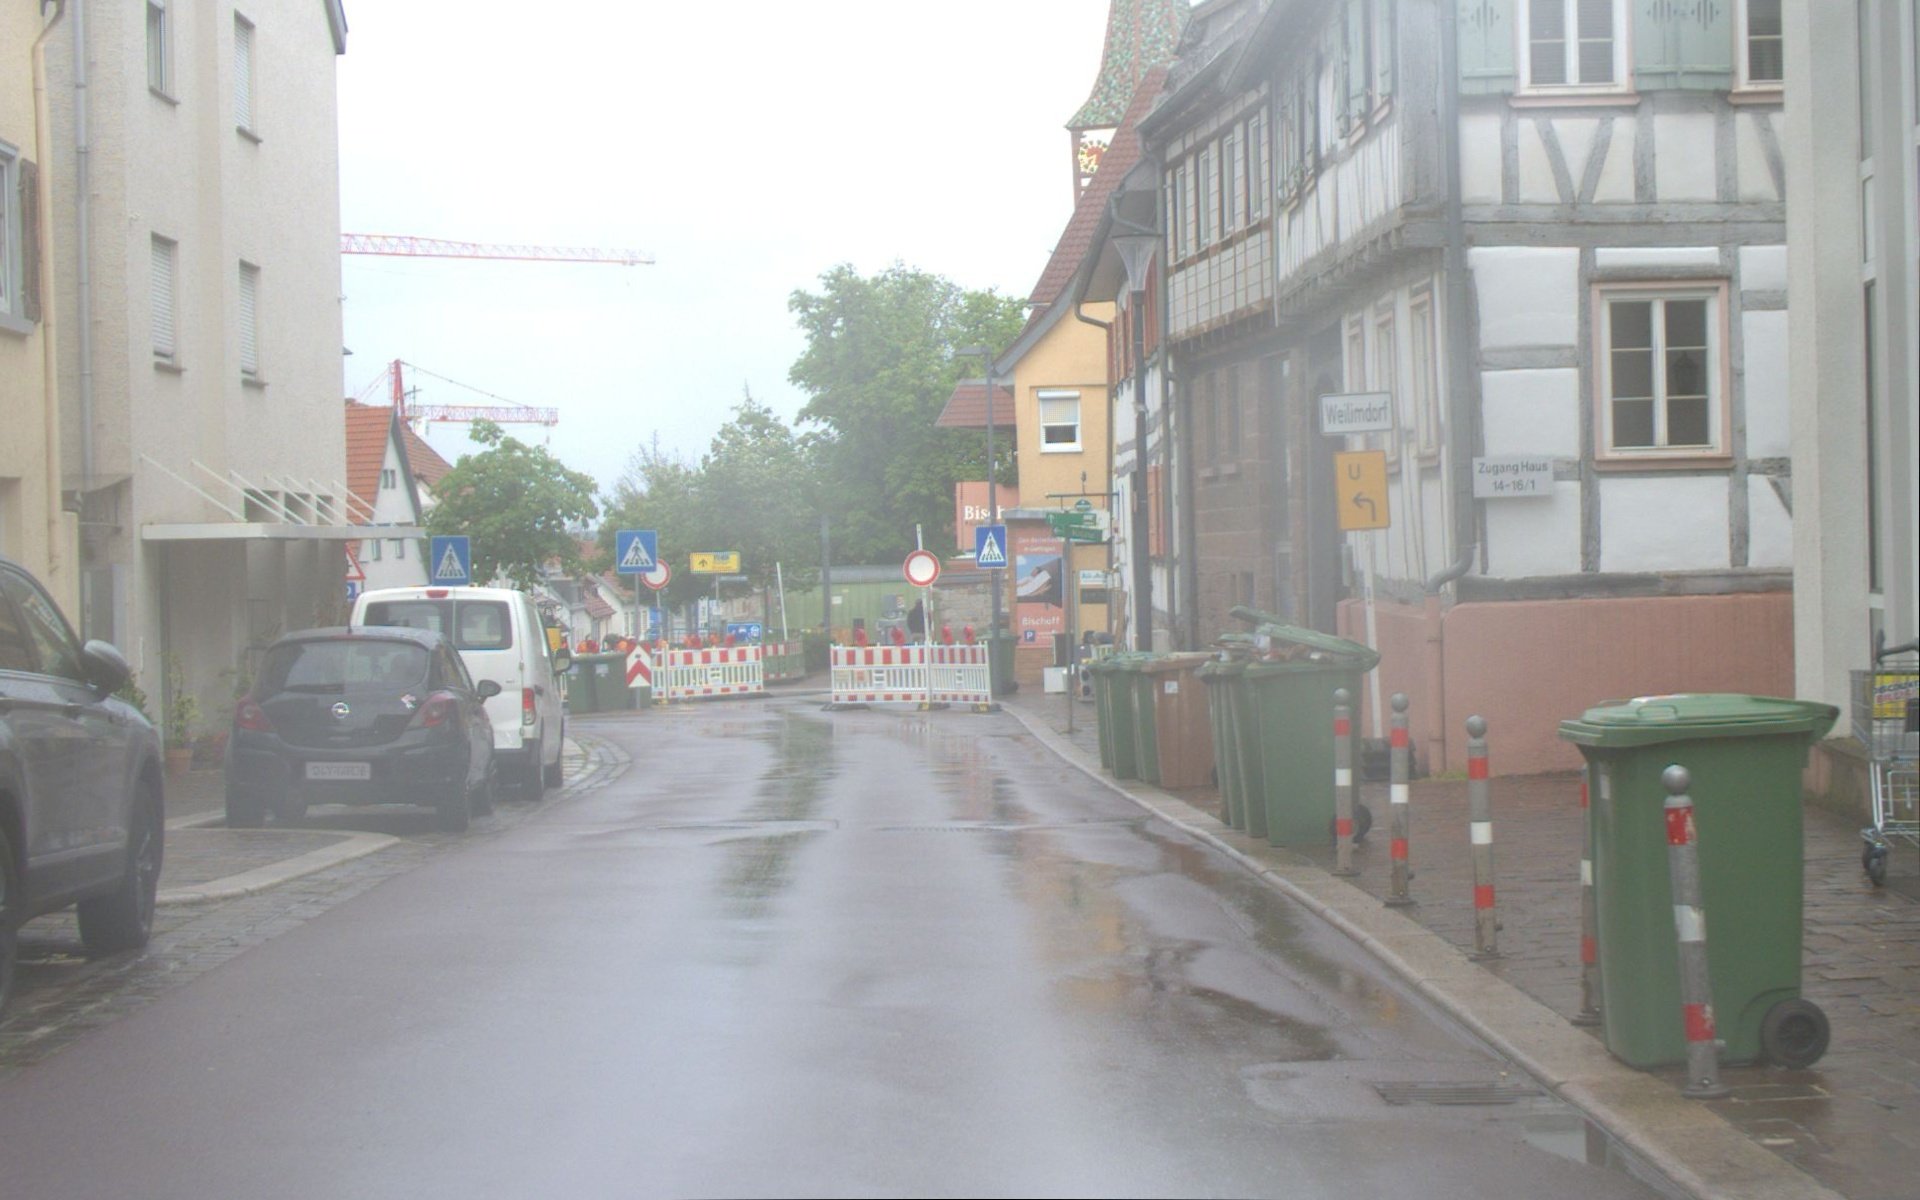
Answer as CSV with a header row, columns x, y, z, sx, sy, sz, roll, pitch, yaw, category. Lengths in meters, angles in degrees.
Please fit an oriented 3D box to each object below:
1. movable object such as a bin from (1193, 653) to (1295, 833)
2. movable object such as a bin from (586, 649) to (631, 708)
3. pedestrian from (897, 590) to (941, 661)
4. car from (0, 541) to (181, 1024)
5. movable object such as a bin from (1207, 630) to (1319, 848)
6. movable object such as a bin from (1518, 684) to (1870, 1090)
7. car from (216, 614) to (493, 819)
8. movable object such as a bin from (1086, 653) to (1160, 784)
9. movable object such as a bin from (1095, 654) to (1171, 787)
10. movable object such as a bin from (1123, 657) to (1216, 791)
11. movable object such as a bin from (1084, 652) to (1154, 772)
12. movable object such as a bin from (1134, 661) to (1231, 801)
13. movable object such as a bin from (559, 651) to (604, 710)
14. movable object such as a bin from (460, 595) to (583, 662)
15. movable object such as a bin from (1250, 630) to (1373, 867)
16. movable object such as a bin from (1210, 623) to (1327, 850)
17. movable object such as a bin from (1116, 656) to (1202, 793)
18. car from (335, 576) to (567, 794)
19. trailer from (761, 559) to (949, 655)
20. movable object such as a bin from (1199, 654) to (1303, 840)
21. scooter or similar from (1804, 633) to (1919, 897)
x,y,z,sx,sy,sz,roll,pitch,yaw,category
1.814,0.906,22.009,0.616,1.127,0.632,-1,-1,3,movable object such as a bin
-6.320,1.412,61.795,0.544,1.029,0.533,-4,-3,32,movable object such as a bin
-1.040,0.647,86.772,0.990,1.753,0.852,-1,-1,-8,pedestrian
-4.080,0.617,12.369,1.779,1.563,4.408,-1,-1,-3,car
1.811,0.826,20.632,0.638,1.286,0.632,-1,-1,4,movable object such as a bin
2.149,0.822,10.170,0.804,1.127,0.862,-1,-1,-3,movable object such as a bin
-4.411,0.826,25.502,1.680,1.384,3.826,-1,-1,-5,car
1.449,1.044,30.516,0.638,1.143,0.580,-1,-1,4,movable object such as a bin
1.510,1.043,29.894,0.638,1.143,0.603,-1,-1,4,movable object such as a bin
1.733,1.025,28.531,0.669,1.078,0.588,-2,-1,-3,movable object such as a bin
1.517,1.066,32.828,0.609,1.124,0.599,-1,-1,-1,movable object such as a bin
1.761,1.031,27.263,0.678,1.093,0.650,0,-1,-5,movable object such as a bin
-6.848,1.455,62.166,0.541,1.033,0.571,-4,-2,32,movable object such as a bin
-13.614,0.882,106.917,3.402,2.007,3.478,-1,-1,0,movable object such as a bin
1.944,0.814,19.098,0.638,1.286,0.632,-1,-1,4,movable object such as a bin
1.779,0.784,19.893,0.638,1.286,0.632,-1,-1,4,movable object such as a bin
1.689,1.051,29.230,0.638,1.143,0.632,-1,-1,-4,movable object such as a bin
-4.554,0.745,31.279,1.723,1.819,4.429,-1,-1,-4,car
-3.354,0.232,108.848,5.780,2.937,2.000,-1,-1,-6,trailer
1.799,0.906,21.316,0.616,1.127,0.632,-1,-1,4,movable object such as a bin
4.288,0.722,15.598,0.665,1.142,1.445,-1,-1,5,scooter or similar
